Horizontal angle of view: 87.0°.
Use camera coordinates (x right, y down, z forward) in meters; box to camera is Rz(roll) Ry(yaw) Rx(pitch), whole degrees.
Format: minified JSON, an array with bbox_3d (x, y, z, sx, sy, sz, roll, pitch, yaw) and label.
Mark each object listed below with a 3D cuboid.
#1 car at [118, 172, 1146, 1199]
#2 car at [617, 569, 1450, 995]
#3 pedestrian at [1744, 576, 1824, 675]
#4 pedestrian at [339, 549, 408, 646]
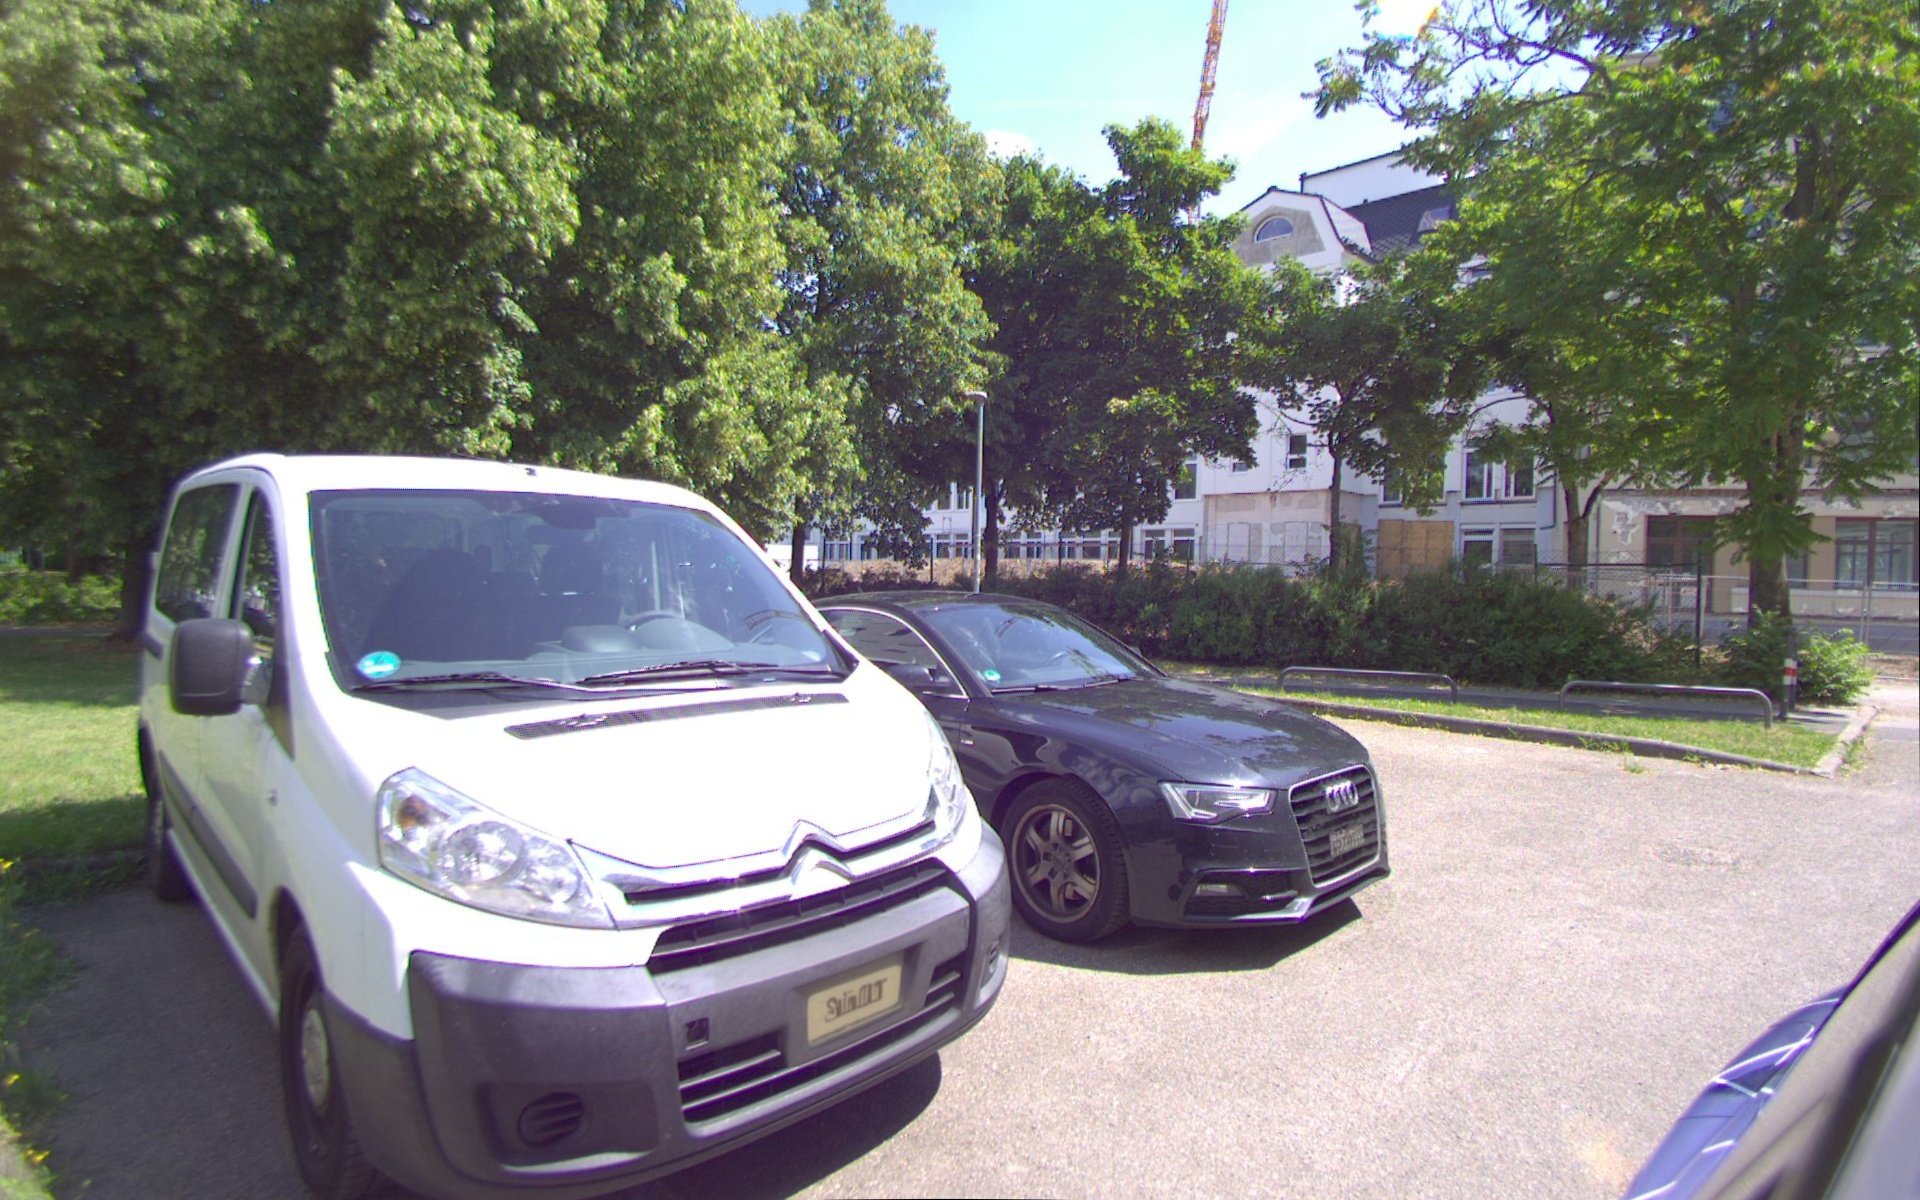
[{"bbox_3d":[-1.822,0.261,3.999,1.967,2.038,4.763,0,2,-44],"label":"car"},{"bbox_3d":[0.003,0.572,5.694,1.804,1.369,4.614,1,1,-45],"label":"car"},{"bbox_3d":[16.077,0.476,19.774,0.957,1.842,0.863,2,1,24],"label":"pedestrian"},{"bbox_3d":[-9.941,-0.057,17.157,0.745,1.583,0.732,2,1,34],"label":"pedestrian"}]
